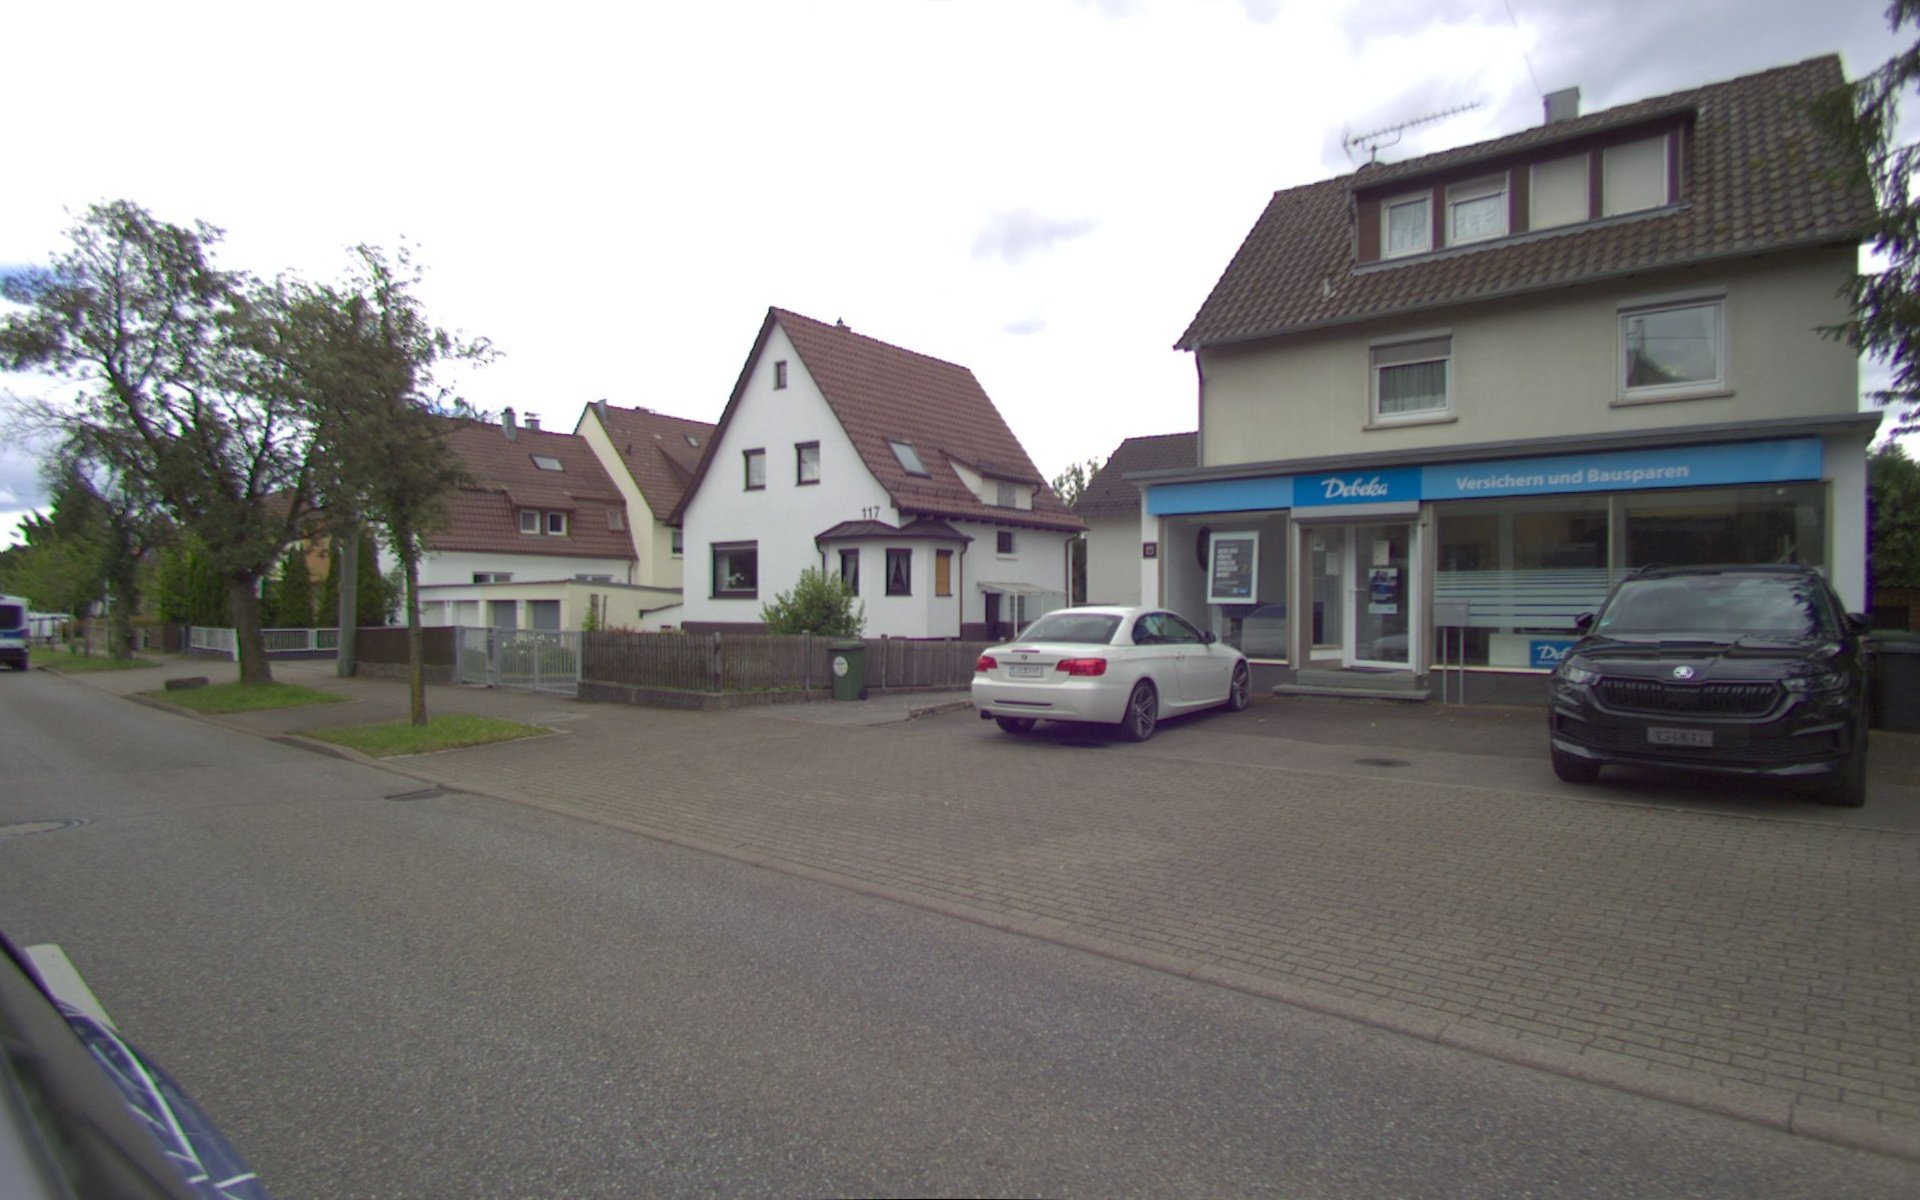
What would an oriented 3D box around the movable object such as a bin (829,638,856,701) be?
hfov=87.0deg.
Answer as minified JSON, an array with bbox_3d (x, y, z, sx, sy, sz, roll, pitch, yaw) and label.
[{"bbox_3d":[-1.842,1.084,15.868,0.428,0.967,0.131,-2,-1,39],"label":"movable object such as a bin"}]

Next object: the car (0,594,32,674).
[{"bbox_3d":[-33.785,1.163,34.934,5.299,2.602,2.051,-2,-3,42],"label":"car"}]

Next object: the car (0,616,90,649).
[{"bbox_3d":[-74.310,2.624,81.899,5.526,2.583,2.137,2,-2,-29],"label":"car"}]

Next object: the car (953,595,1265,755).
[{"bbox_3d":[1.919,0.713,11.794,1.813,1.378,4.240,-1,1,36],"label":"car"}]

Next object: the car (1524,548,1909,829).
[{"bbox_3d":[6.232,0.481,8.115,1.974,1.630,4.285,-1,0,44],"label":"car"}]
